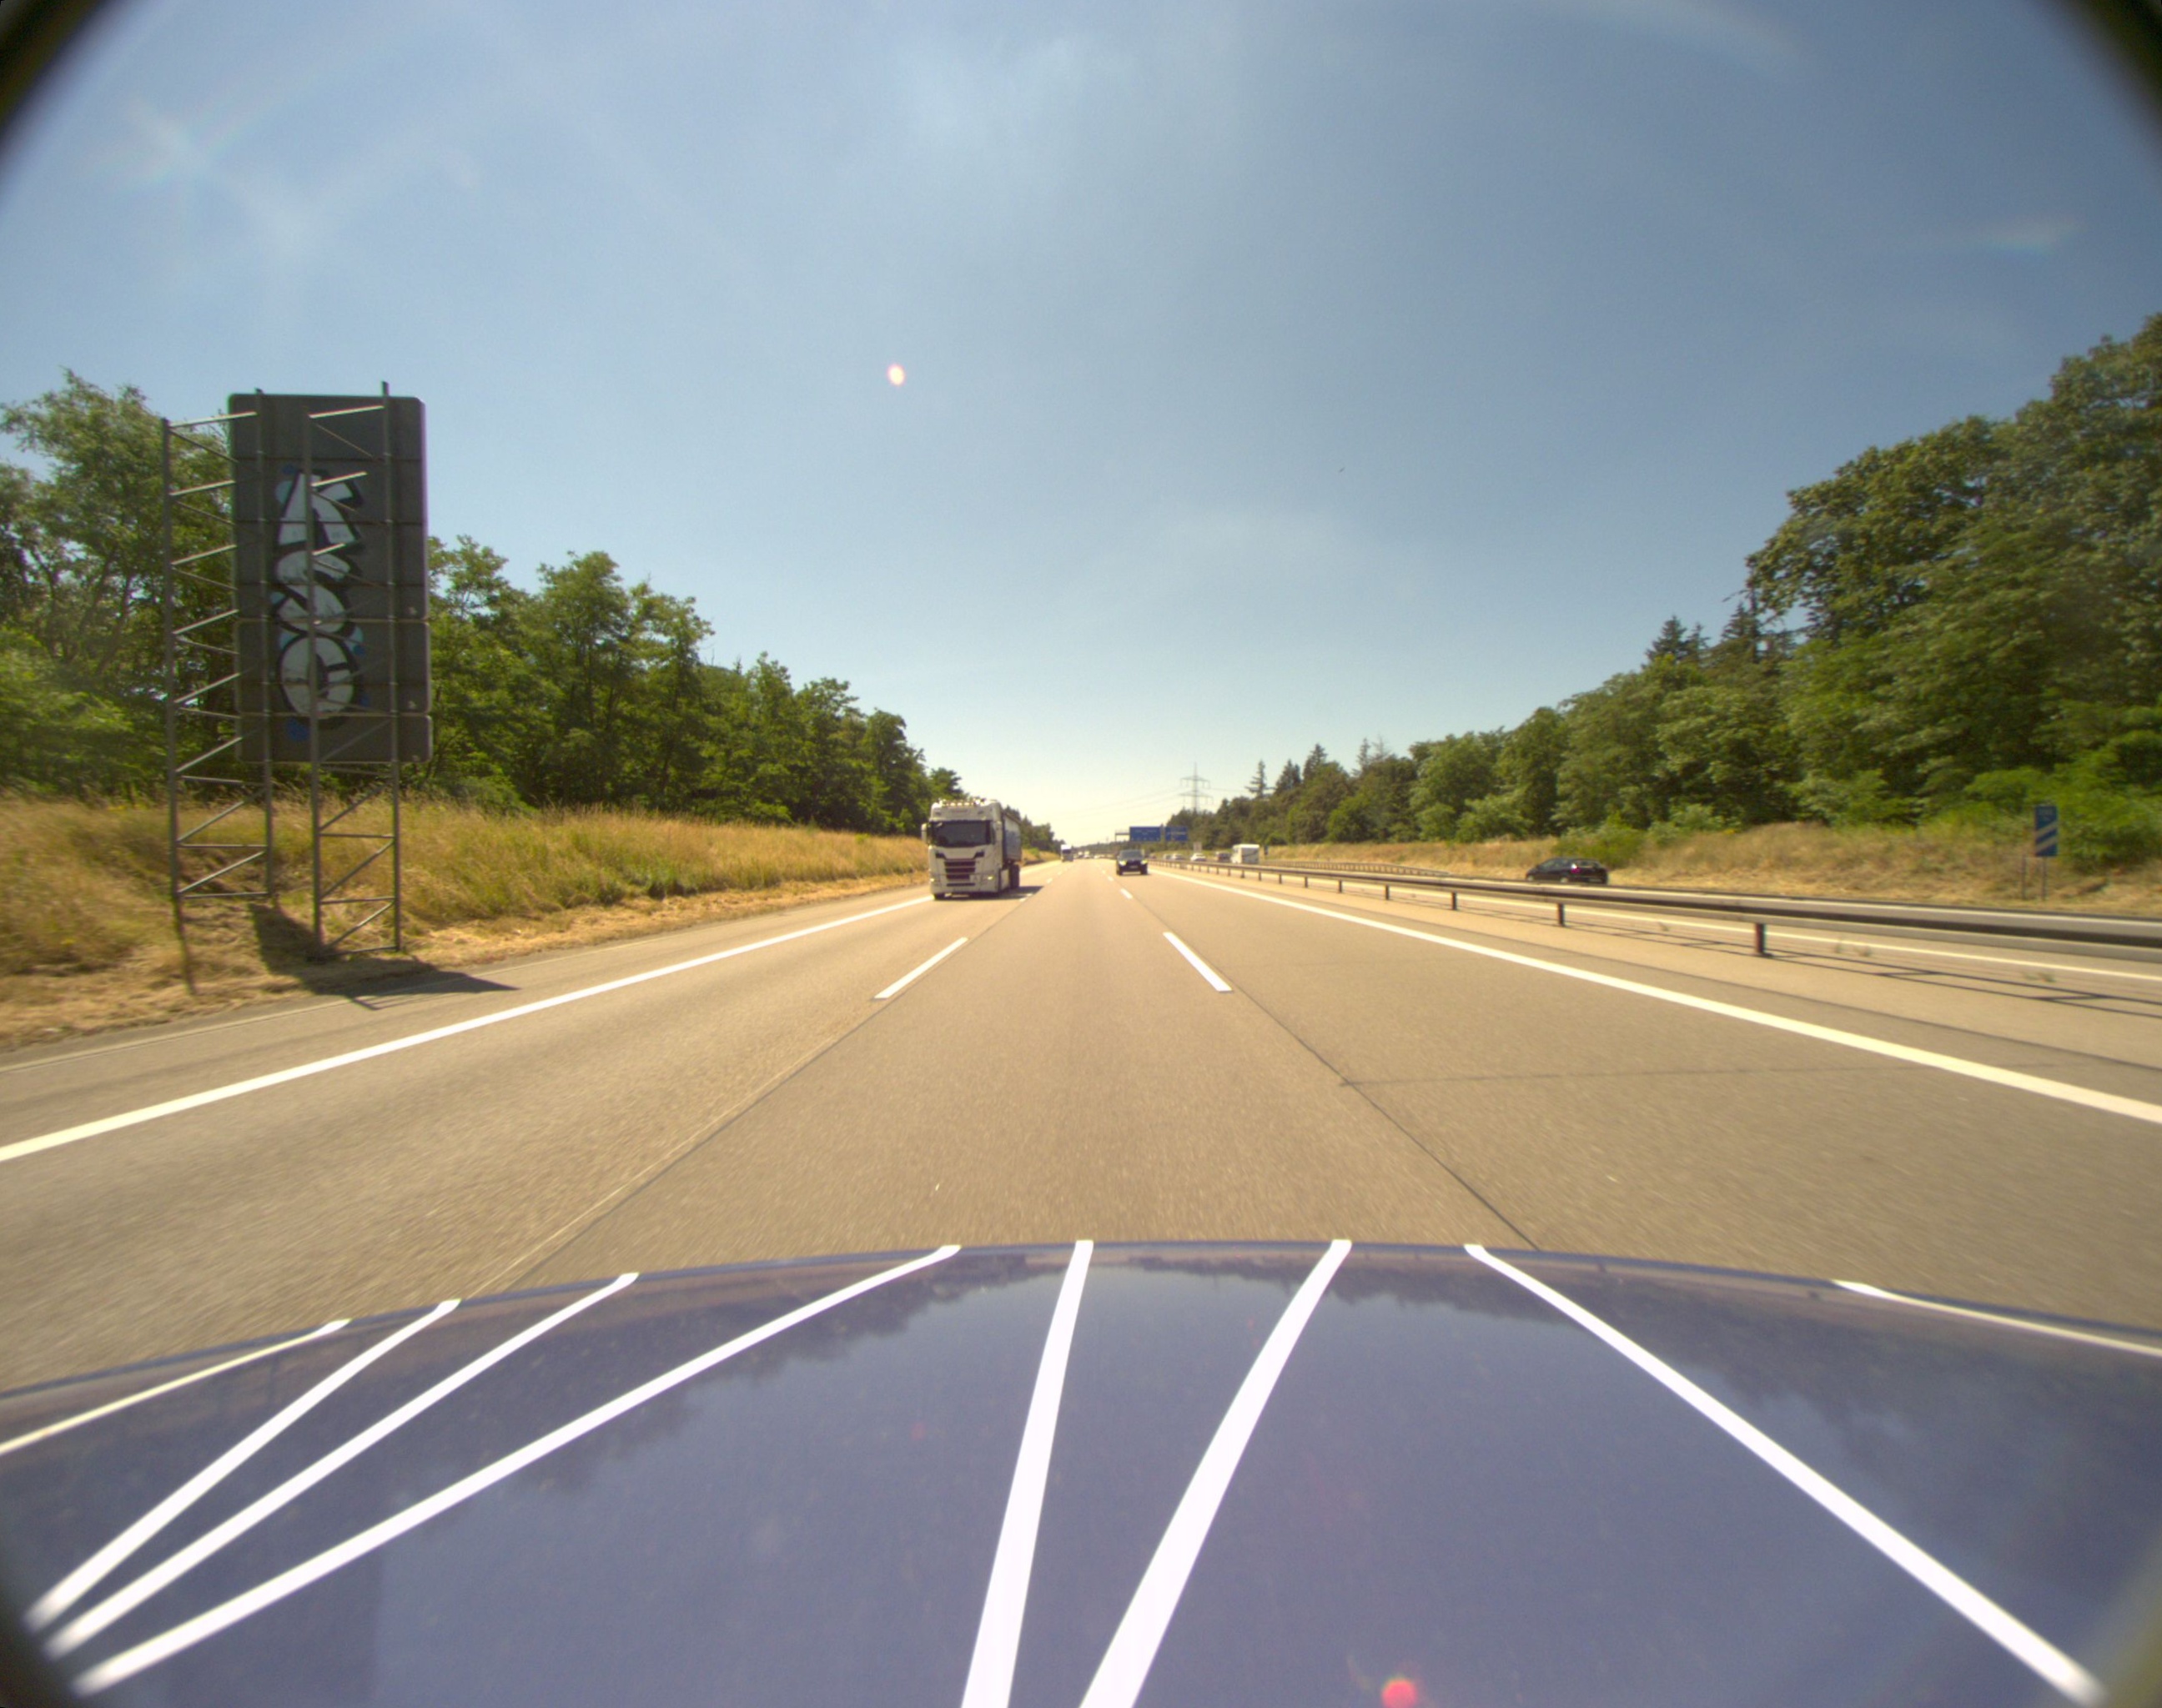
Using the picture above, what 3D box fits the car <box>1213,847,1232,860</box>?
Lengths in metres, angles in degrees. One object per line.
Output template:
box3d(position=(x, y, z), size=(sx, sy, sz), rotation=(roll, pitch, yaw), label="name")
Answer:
box3d(position=(22.325, -0.048, 119.892), size=(1.998, 1.941, 5.244), rotation=(1, 0, 1), label="car")

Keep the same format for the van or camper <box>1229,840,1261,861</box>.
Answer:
box3d(position=(21.052, -0.430, 97.675), size=(2.468, 2.560, 7.769), rotation=(1, 0, 1), label="van or camper")

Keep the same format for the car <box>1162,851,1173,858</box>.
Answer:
box3d(position=(18.734, 0.098, 163.863), size=(1.856, 1.518, 5.204), rotation=(0, 0, 1), label="car")

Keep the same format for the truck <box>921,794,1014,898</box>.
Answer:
box3d(position=(-4.395, -0.269, 30.701), size=(2.691, 3.736, 5.944), rotation=(-1, 0, 1), label="truck")

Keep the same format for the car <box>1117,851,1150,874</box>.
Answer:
box3d(position=(3.596, 0.574, 52.763), size=(1.899, 1.417, 4.261), rotation=(-2, 0, 0), label="car")

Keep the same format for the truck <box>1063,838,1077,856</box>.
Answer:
box3d(position=(-2.506, -1.523, 178.574), size=(2.979, 4.117, 5.350), rotation=(-1, 0, 2), label="truck")

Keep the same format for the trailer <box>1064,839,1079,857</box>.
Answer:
box3d(position=(-2.238, -1.473, 184.363), size=(2.982, 4.117, 11.698), rotation=(-1, 0, 3), label="trailer")

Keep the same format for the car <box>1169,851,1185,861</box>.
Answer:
box3d(position=(13.839, 0.317, 109.926), size=(1.841, 1.365, 4.352), rotation=(1, 0, 1), label="car")

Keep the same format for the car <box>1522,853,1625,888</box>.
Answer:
box3d(position=(21.337, 0.668, 33.139), size=(1.818, 1.387, 4.111), rotation=(1, 0, 1), label="car")

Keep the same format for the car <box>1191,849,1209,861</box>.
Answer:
box3d(position=(18.276, 0.138, 117.313), size=(1.998, 1.684, 5.244), rotation=(1, 0, 1), label="car")

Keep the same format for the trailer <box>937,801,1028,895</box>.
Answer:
box3d(position=(-4.299, -0.219, 35.195), size=(2.743, 3.736, 9.109), rotation=(-1, 0, 1), label="trailer")
